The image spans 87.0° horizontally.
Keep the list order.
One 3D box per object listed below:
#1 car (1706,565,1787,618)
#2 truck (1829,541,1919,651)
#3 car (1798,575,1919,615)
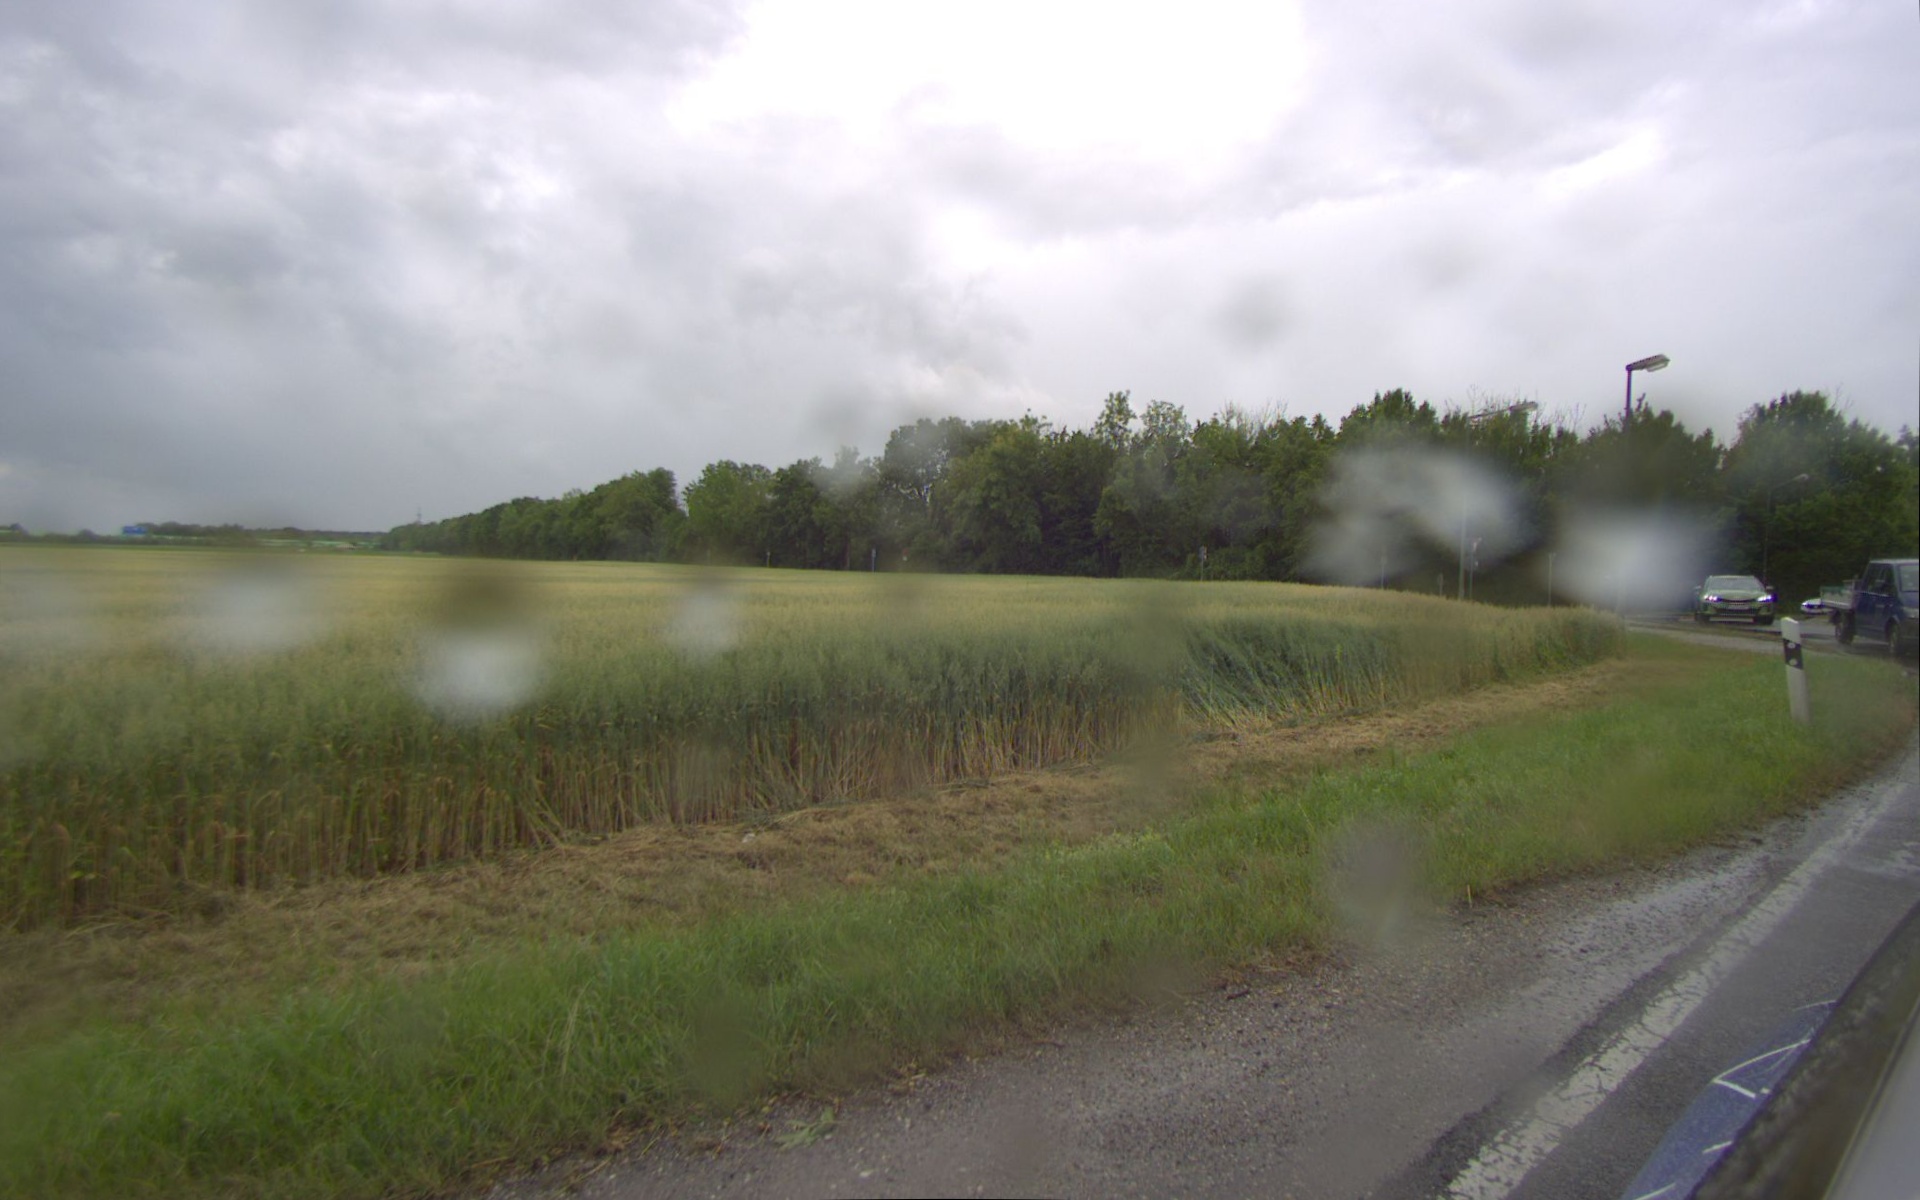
[{"bbox_3d":[24.892,-0.300,32.151,1.882,1.550,5.186,1,1,37],"label":"car"},{"bbox_3d":[20.276,-0.170,21.031,2.057,2.087,5.716,-1,1,27],"label":"truck"},{"bbox_3d":[36.679,-0.216,40.844,4.409,1.550,1.896,0,1,-9],"label":"car"}]
